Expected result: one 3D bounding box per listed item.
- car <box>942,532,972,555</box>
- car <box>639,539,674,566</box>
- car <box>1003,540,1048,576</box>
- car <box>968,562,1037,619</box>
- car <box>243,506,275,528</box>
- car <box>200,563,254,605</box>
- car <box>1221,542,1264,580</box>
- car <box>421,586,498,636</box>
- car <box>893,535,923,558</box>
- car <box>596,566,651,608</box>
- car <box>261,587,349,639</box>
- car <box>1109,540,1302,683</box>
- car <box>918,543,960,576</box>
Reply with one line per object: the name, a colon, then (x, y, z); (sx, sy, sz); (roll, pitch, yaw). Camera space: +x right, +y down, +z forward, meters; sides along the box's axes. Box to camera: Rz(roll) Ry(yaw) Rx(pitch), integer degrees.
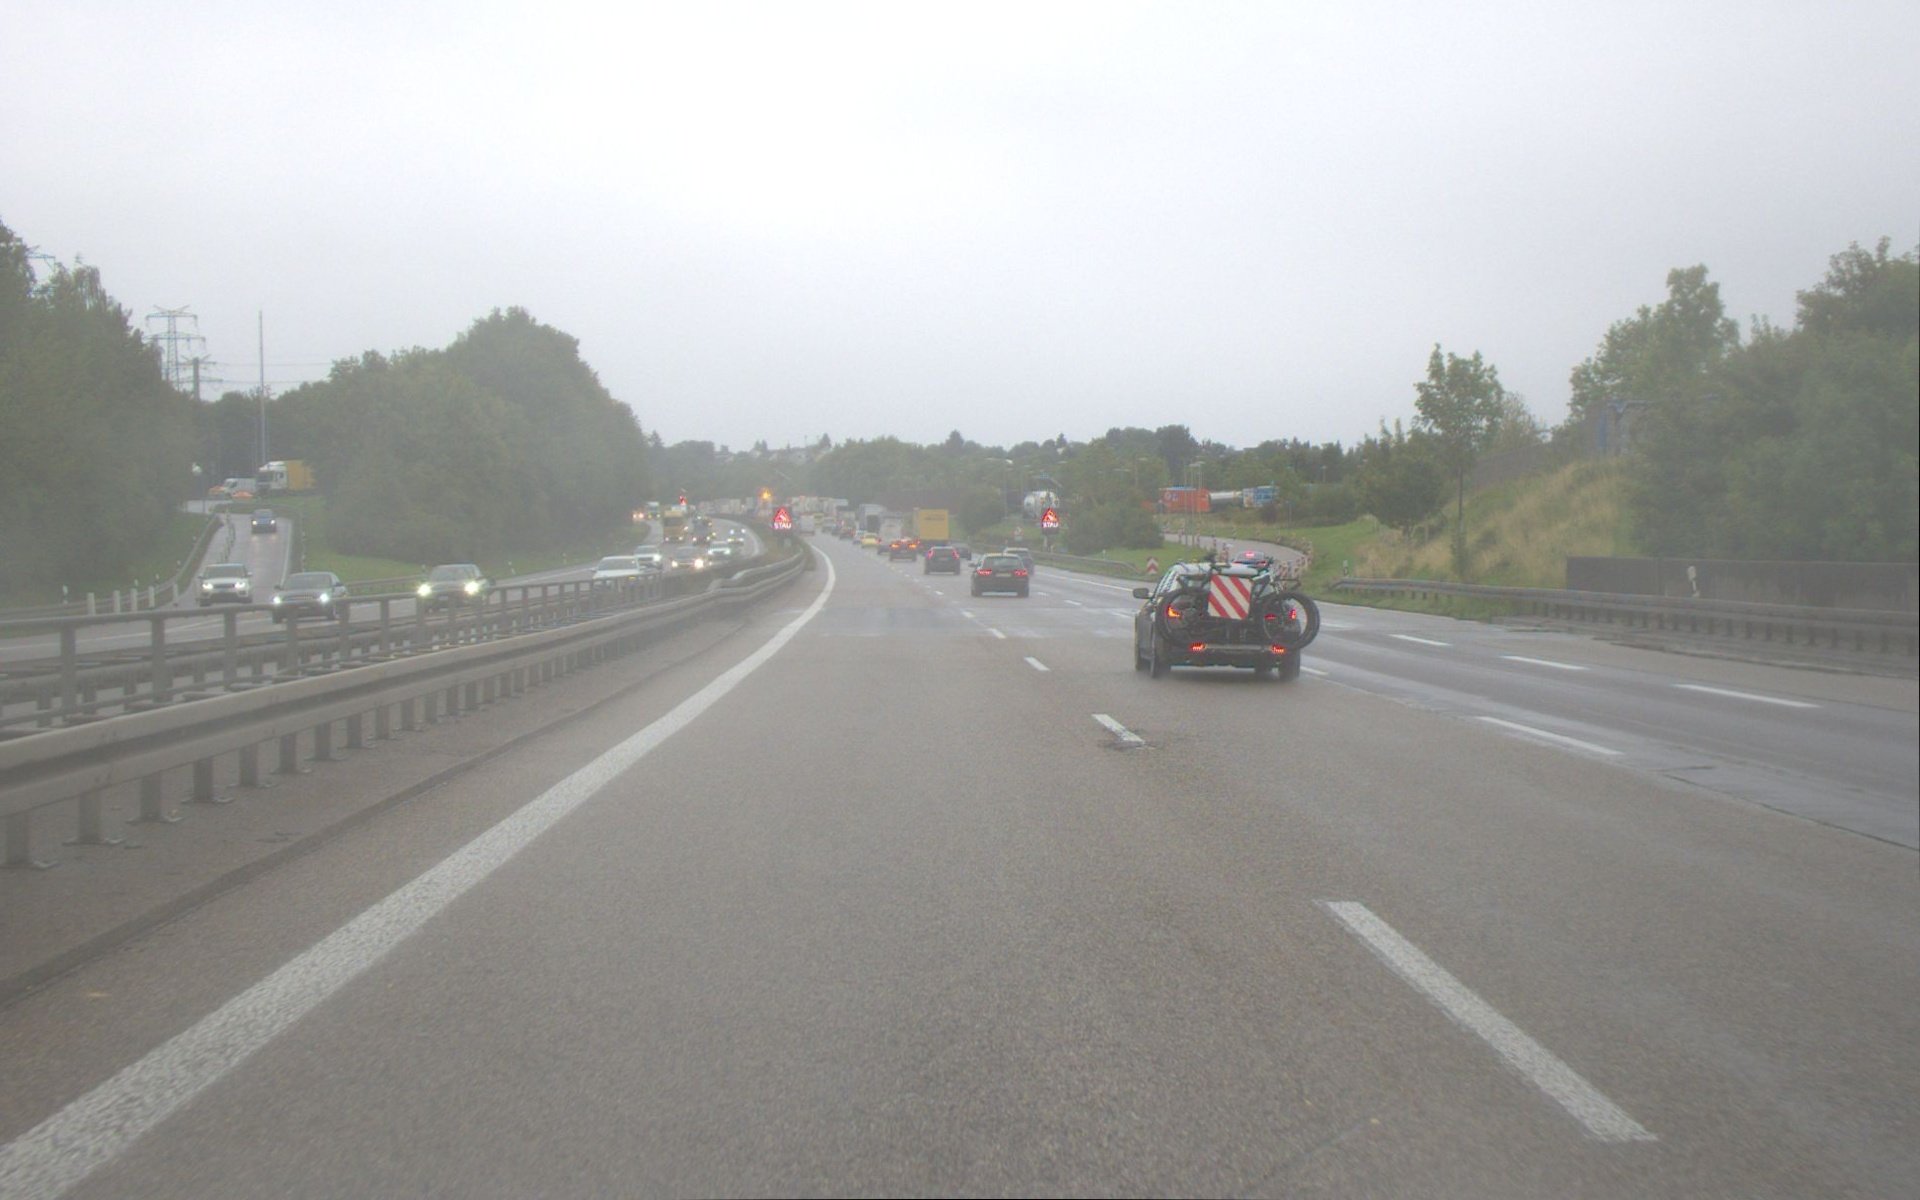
car: (-0.220, -4.265, 259.788); (1.993, 1.623, 4.001); (-1, 1, -3)
car: (-19.511, -3.055, 221.212); (1.904, 1.659, 4.714); (-1, 1, -2)
car: (3.370, -2.170, 177.365); (1.993, 1.755, 4.001); (-1, 1, -3)
car: (1.396, -0.339, 113.672); (1.993, 1.755, 4.001); (-1, 1, -3)
car: (-51.212, -6.042, 251.186); (1.967, 1.537, 4.001); (-1, 1, -15)
car: (-29.780, -0.655, 139.789); (1.993, 1.664, 4.001); (-1, 1, -10)
car: (13.373, -1.856, 162.710); (1.922, 1.703, 4.000); (-1, 1, 4)
car: (-15.391, 0.324, 105.907); (1.816, 1.432, 4.089); (-2, 1, -1)
car: (-3.739, -3.867, 247.671); (1.993, 1.623, 4.001); (-1, 1, -3)
car: (-12.353, -0.489, 126.222); (1.656, 1.432, 4.089); (-2, 1, -1)
car: (-19.110, 0.373, 100.419); (1.816, 1.384, 4.089); (-2, 1, -1)
car: (3.025, 0.122, 43.431); (2.058, 1.665, 5.522); (1, 0, 0)
car: (-1.107, -2.127, 179.982); (1.993, 1.623, 4.001); (-1, 1, -3)
